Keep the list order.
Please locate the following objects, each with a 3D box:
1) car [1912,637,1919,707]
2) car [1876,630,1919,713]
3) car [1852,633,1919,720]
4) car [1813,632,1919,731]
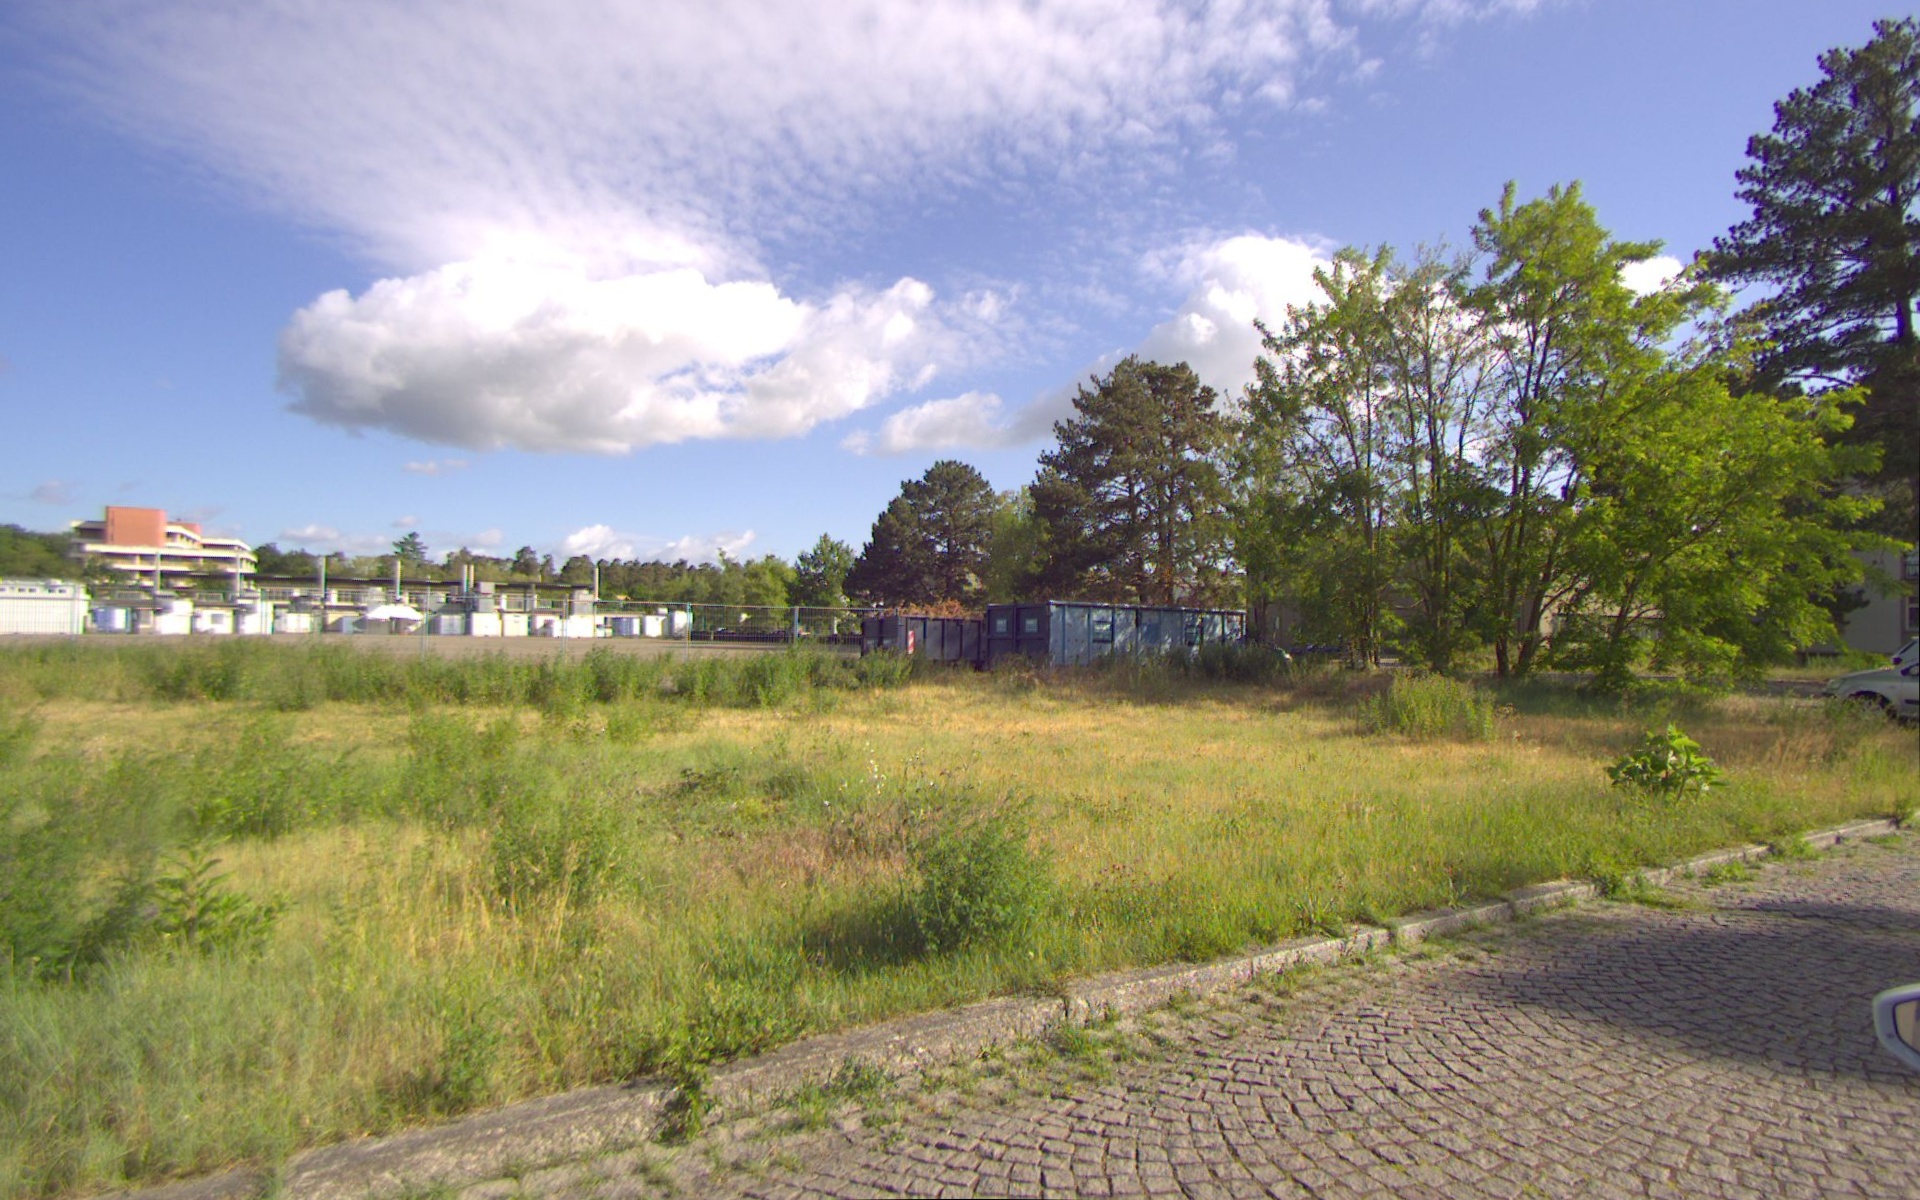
[{"bbox_3d":[22.492,1.617,20.384,1.811,1.488,4.307,1,1,-33],"label":"car"},{"bbox_3d":[20.510,1.482,19.218,1.865,1.614,4.055,1,1,-33],"label":"car"},{"bbox_3d":[18.283,1.417,17.348,1.784,1.500,3.963,1,1,-33],"label":"car"},{"bbox_3d":[16.171,1.354,15.918,1.628,1.507,3.723,1,1,-33],"label":"car"}]
